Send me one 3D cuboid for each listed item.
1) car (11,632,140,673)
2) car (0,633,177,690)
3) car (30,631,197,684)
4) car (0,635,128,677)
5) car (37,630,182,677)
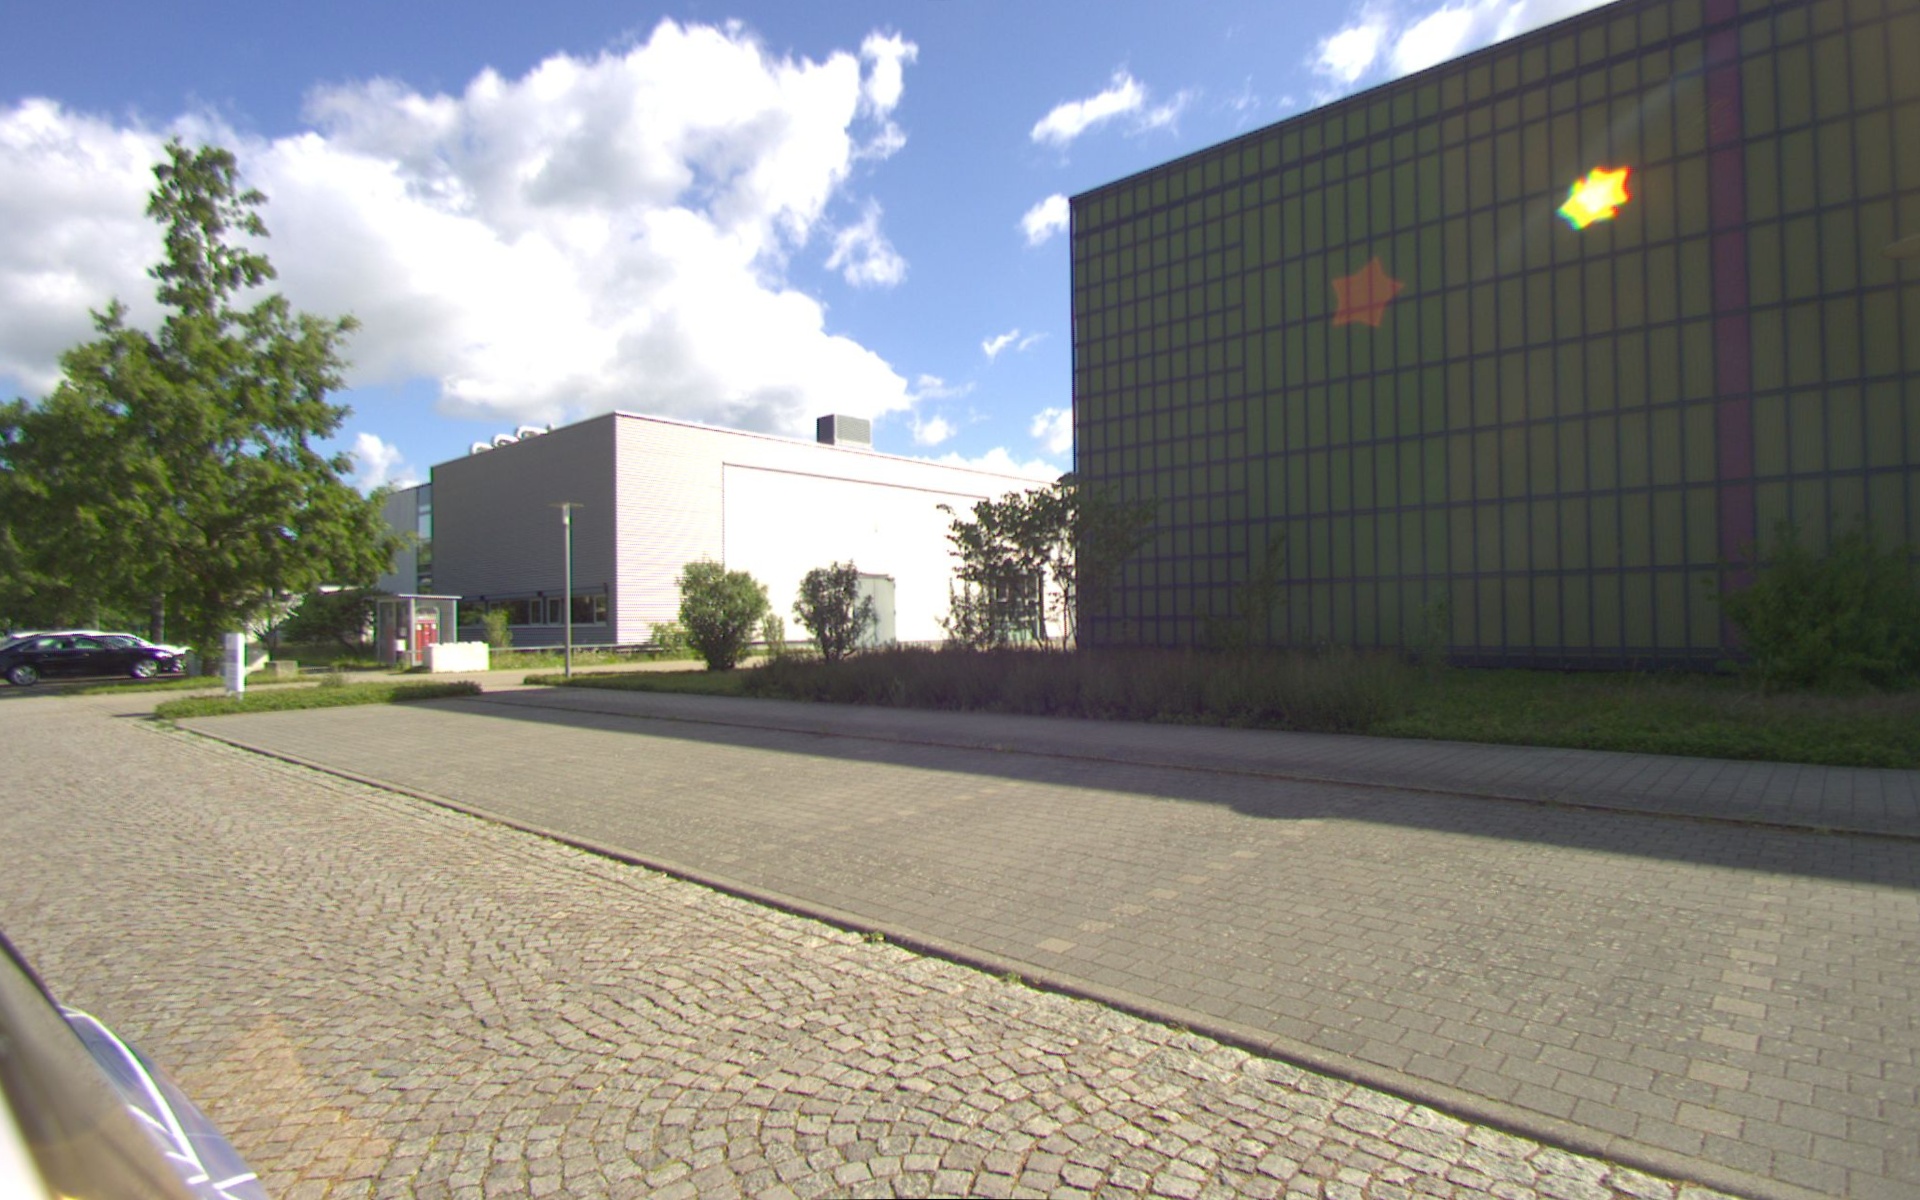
[{"bbox_3d":[-36.732,2.152,42.084,1.796,1.446,3.870,-2,-1,43],"label":"car"},{"bbox_3d":[-26.481,1.806,30.184,1.756,1.434,4.670,-2,-1,41],"label":"car"},{"bbox_3d":[-27.545,1.832,33.025,4.089,1.471,1.693,-2,-1,-43],"label":"car"},{"bbox_3d":[-35.299,2.168,39.721,1.692,1.428,3.870,-2,-1,43],"label":"car"},{"bbox_3d":[-31.020,1.922,36.986,1.756,1.457,3.870,-2,-1,43],"label":"car"}]
